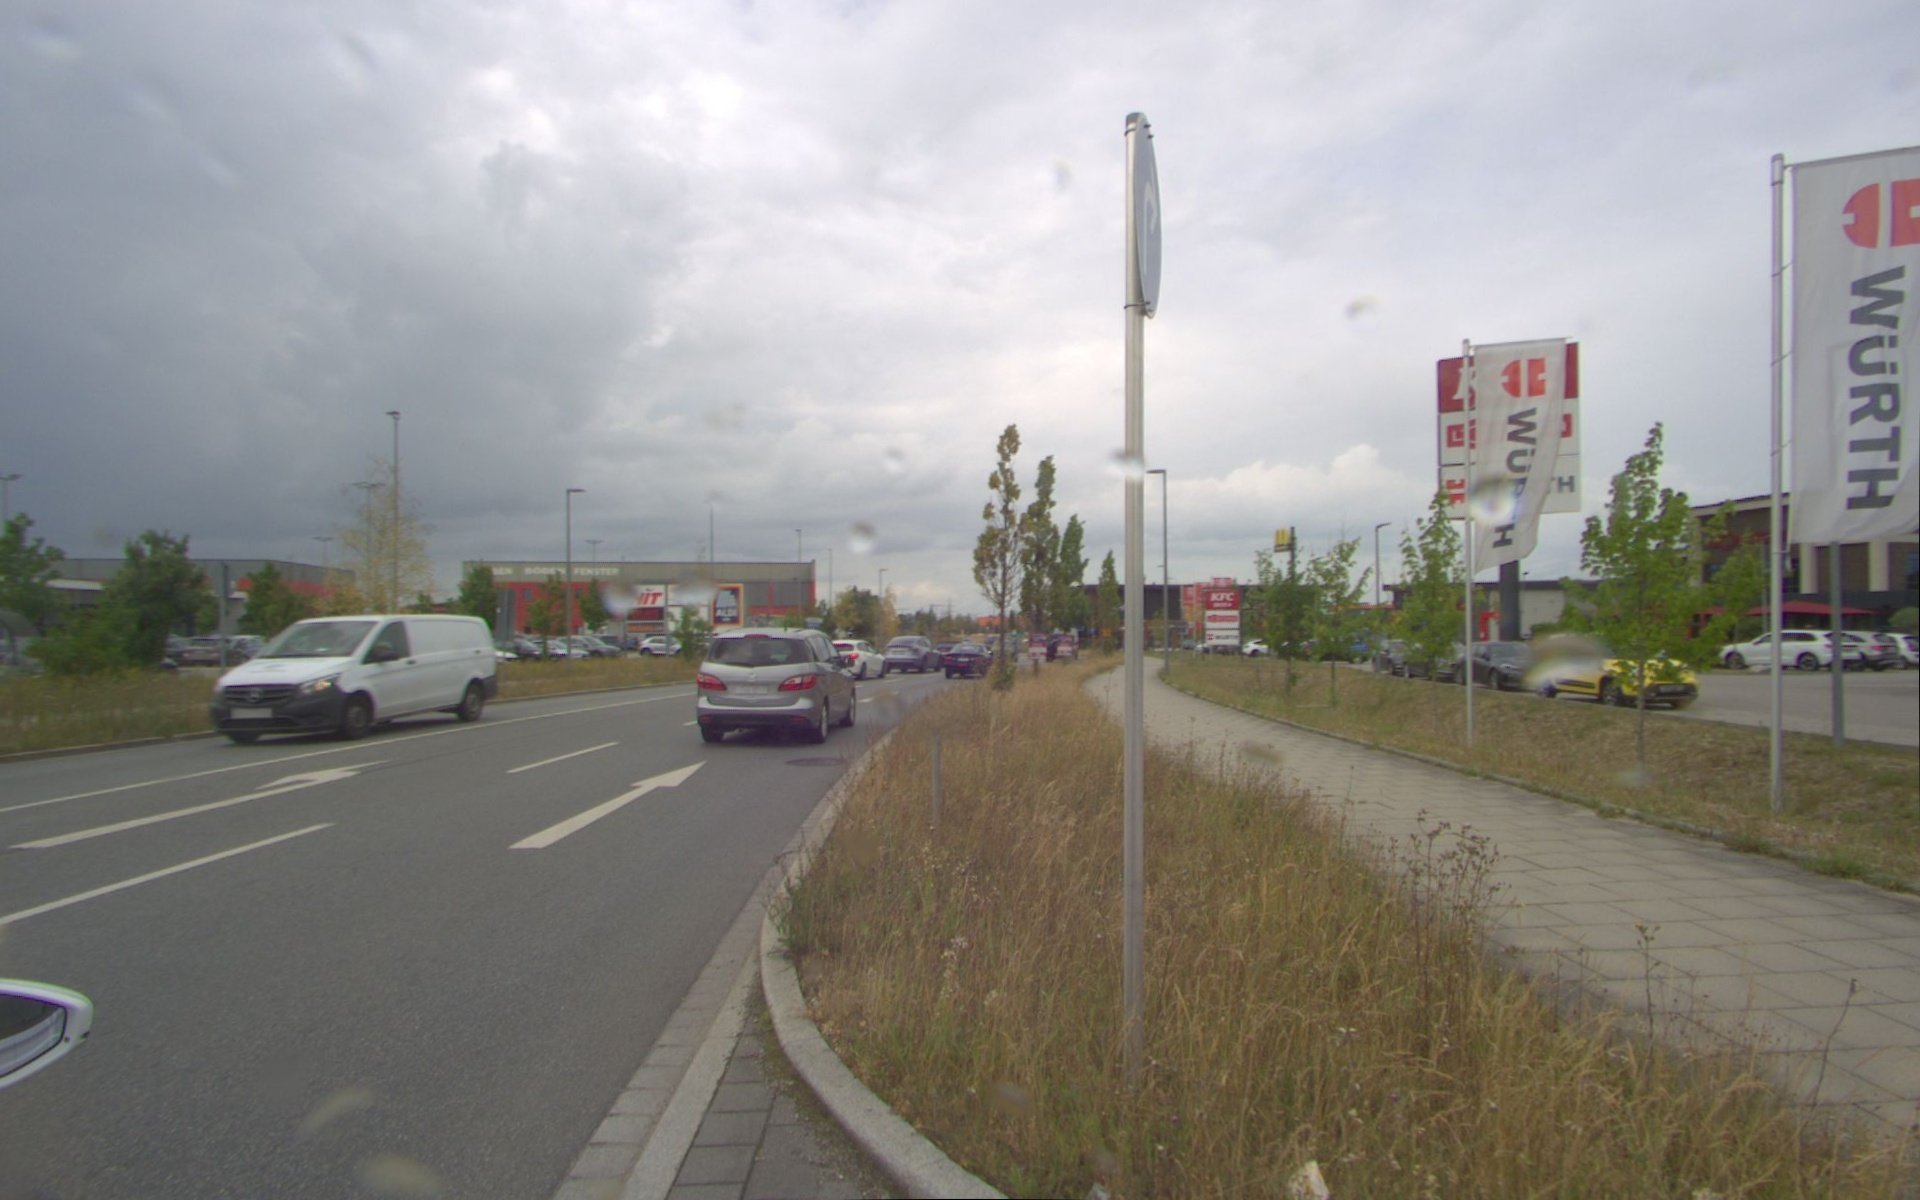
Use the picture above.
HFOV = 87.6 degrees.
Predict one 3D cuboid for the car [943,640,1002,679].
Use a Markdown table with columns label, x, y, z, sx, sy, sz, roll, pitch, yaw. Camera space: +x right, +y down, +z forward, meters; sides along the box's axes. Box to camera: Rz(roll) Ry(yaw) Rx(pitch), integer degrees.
| label | x | y | z | sx | sy | sz | roll | pitch | yaw |
| --- | --- | --- | --- | --- | --- | --- | --- | --- | --- |
| car | 0.560 | 2.293 | 39.283 | 1.725 | 1.404 | 4.301 | 0 | -1 | 9 |

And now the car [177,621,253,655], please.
| label | x | y | z | sx | sy | sz | roll | pitch | yaw |
| --- | --- | --- | --- | --- | --- | --- | --- | --- | --- |
| car | -40.311 | 2.038 | 54.284 | 1.964 | 1.756 | 3.994 | 0 | -1 | -15 |

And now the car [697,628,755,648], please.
| label | x | y | z | sx | sy | sz | roll | pitch | yaw |
| --- | --- | --- | --- | --- | --- | --- | --- | --- | --- |
| car | -17.983 | 2.914 | 76.966 | 3.922 | 1.460 | 2.001 | -1 | -2 | 5 |

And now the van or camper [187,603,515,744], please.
| label | x | y | z | sx | sy | sz | roll | pitch | yaw |
| --- | --- | --- | --- | --- | --- | --- | --- | --- | --- |
| van or camper | -9.593 | 1.074 | 16.452 | 1.961 | 1.936 | 5.205 | 0 | -1 | 4 |

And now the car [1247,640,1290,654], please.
| label | x | y | z | sx | sy | sz | roll | pitch | yaw |
| --- | --- | --- | --- | --- | --- | --- | --- | --- | --- |
| car | 27.673 | 4.191 | 89.866 | 3.536 | 1.260 | 1.629 | -1 | -1 | 12 |

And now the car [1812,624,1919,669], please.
| label | x | y | z | sx | sy | sz | roll | pitch | yaw |
| --- | --- | --- | --- | --- | --- | --- | --- | --- | --- |
| car | 40.983 | 2.036 | 44.737 | 1.965 | 1.884 | 3.993 | 0 | -1 | -17 |

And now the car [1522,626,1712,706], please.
| label | x | y | z | sx | sy | sz | roll | pitch | yaw |
| --- | --- | --- | --- | --- | --- | --- | --- | --- | --- |
| car | 15.474 | 1.513 | 23.902 | 1.719 | 1.705 | 4.300 | -1 | -2 | 0 |

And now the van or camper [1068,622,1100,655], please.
| label | x | y | z | sx | sy | sz | roll | pitch | yaw |
| --- | --- | --- | --- | --- | --- | --- | --- | --- | --- |
| van or camper | 10.133 | 3.168 | 81.417 | 2.154 | 2.573 | 6.166 | 0 | -2 | 10 |

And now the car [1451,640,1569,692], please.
| label | x | y | z | sx | sy | sz | roll | pitch | yaw |
| --- | --- | --- | --- | --- | --- | --- | --- | --- | --- |
| car | 16.284 | 1.918 | 29.861 | 1.710 | 1.379 | 4.001 | -1 | -2 | 8 |

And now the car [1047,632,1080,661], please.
| label | x | y | z | sx | sy | sz | roll | pitch | yaw |
| --- | --- | --- | --- | --- | --- | --- | --- | --- | --- |
| car | 7.245 | 3.200 | 69.480 | 1.962 | 1.948 | 4.848 | 0 | -2 | 10 |

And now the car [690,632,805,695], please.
| label | x | y | z | sx | sy | sz | roll | pitch | yaw |
| --- | --- | --- | --- | --- | --- | --- | --- | --- | --- |
| car | -5.498 | 1.611 | 26.374 | 1.766 | 1.480 | 3.816 | 0 | -1 | 8 |

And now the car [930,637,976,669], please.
| label | x | y | z | sx | sy | sz | roll | pitch | yaw |
| --- | --- | --- | --- | --- | --- | --- | --- | --- | --- |
| car | -0.334 | 2.757 | 53.013 | 1.872 | 1.588 | 4.337 | 0 | -2 | 7 |

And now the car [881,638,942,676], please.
| label | x | y | z | sx | sy | sz | roll | pitch | yaw |
| --- | --- | --- | --- | --- | --- | --- | --- | --- | --- |
| car | -2.089 | 2.501 | 44.661 | 1.776 | 1.527 | 4.884 | 0 | -1 | 9 |

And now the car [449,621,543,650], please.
| label | x | y | z | sx | sy | sz | roll | pitch | yaw |
| --- | --- | --- | --- | --- | --- | --- | --- | --- | --- |
| car | -22.680 | 1.726 | 49.004 | 3.740 | 1.408 | 1.914 | 0 | -1 | 5 |

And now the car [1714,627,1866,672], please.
| label | x | y | z | sx | sy | sz | roll | pitch | yaw |
| --- | --- | --- | --- | --- | --- | --- | --- | --- | --- |
| car | 34.660 | 2.027 | 41.997 | 1.727 | 1.770 | 4.736 | 0 | -2 | -17 |

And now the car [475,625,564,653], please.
| label | x | y | z | sx | sy | sz | roll | pitch | yaw |
| --- | --- | --- | --- | --- | --- | --- | --- | --- | --- |
| car | -22.506 | 1.982 | 51.258 | 3.740 | 1.408 | 1.914 | 0 | -1 | 5 |

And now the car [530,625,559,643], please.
| label | x | y | z | sx | sy | sz | roll | pitch | yaw |
| --- | --- | --- | --- | --- | --- | --- | --- | --- | --- |
| car | -38.513 | 3.133 | 92.826 | 1.730 | 1.675 | 3.833 | 0 | -1 | -11 |

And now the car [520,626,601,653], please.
| label | x | y | z | sx | sy | sz | roll | pitch | yaw |
| --- | --- | --- | --- | --- | --- | --- | --- | --- | --- |
| car | -22.161 | 2.183 | 55.594 | 3.740 | 1.408 | 1.914 | 0 | -1 | 5 |

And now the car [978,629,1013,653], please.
| label | x | y | z | sx | sy | sz | roll | pitch | yaw |
| --- | --- | --- | --- | --- | --- | --- | --- | --- | --- |
| car | 2.433 | 2.748 | 67.351 | 1.872 | 1.588 | 4.336 | 0 | -2 | 8 |

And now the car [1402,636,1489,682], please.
| label | x | y | z | sx | sy | sz | roll | pitch | yaw |
| --- | --- | --- | --- | --- | --- | --- | --- | --- | --- |
| car | 17.354 | 2.072 | 35.956 | 1.683 | 1.518 | 4.000 | -1 | -2 | 9 |

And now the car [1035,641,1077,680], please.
| label | x | y | z | sx | sy | sz | roll | pitch | yaw |
| --- | --- | --- | --- | --- | --- | --- | --- | --- | --- |
| car | 4.590 | 2.840 | 47.510 | 1.653 | 1.698 | 3.505 | -1 | -2 | 10 |

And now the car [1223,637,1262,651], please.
| label | x | y | z | sx | sy | sz | roll | pitch | yaw |
| --- | --- | --- | --- | --- | --- | --- | --- | --- | --- |
| car | 27.327 | 4.247 | 96.996 | 3.536 | 1.260 | 1.629 | -1 | -1 | 12 |

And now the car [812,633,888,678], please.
| label | x | y | z | sx | sy | sz | roll | pitch | yaw |
| --- | --- | --- | --- | --- | --- | --- | --- | --- | --- |
| car | -3.948 | 1.991 | 36.724 | 1.766 | 1.469 | 4.248 | 0 | -1 | 8 |

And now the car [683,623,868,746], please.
| label | x | y | z | sx | sy | sz | roll | pitch | yaw |
| --- | --- | --- | --- | --- | --- | --- | --- | --- | --- |
| car | -2.632 | 1.159 | 15.356 | 1.785 | 1.583 | 4.402 | 1 | -1 | 3 |

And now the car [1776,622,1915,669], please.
| label | x | y | z | sx | sy | sz | roll | pitch | yaw |
| --- | --- | --- | --- | --- | --- | --- | --- | --- | --- |
| car | 37.448 | 1.901 | 42.477 | 1.965 | 1.884 | 3.993 | 0 | -1 | -17 |

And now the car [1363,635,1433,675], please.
| label | x | y | z | sx | sy | sz | roll | pitch | yaw |
| --- | --- | --- | --- | --- | --- | --- | --- | --- | --- |
| car | 18.136 | 2.248 | 41.641 | 1.683 | 1.518 | 4.000 | -1 | -2 | 9 |

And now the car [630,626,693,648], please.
| label | x | y | z | sx | sy | sz | roll | pitch | yaw |
| --- | --- | --- | --- | --- | --- | --- | --- | --- | --- |
| car | -20.587 | 2.573 | 69.133 | 3.769 | 1.446 | 1.742 | -1 | -2 | 9 |

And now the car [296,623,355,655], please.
| label | x | y | z | sx | sy | sz | roll | pitch | yaw |
| --- | --- | --- | --- | --- | --- | --- | --- | --- | --- |
| car | -34.726 | 2.108 | 54.903 | 1.732 | 1.675 | 3.830 | 0 | -1 | -16 |

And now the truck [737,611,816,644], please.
| label | x | y | z | sx | sy | sz | roll | pitch | yaw |
| --- | --- | --- | --- | --- | --- | --- | --- | --- | --- |
| truck | -16.970 | 2.539 | 93.099 | 2.640 | 2.983 | 8.148 | -1 | -1 | 29 |

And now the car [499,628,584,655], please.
| label | x | y | z | sx | sy | sz | roll | pitch | yaw |
| --- | --- | --- | --- | --- | --- | --- | --- | --- | --- |
| car | -22.345 | 2.215 | 53.590 | 3.740 | 1.408 | 1.914 | 0 | -1 | 5 |
